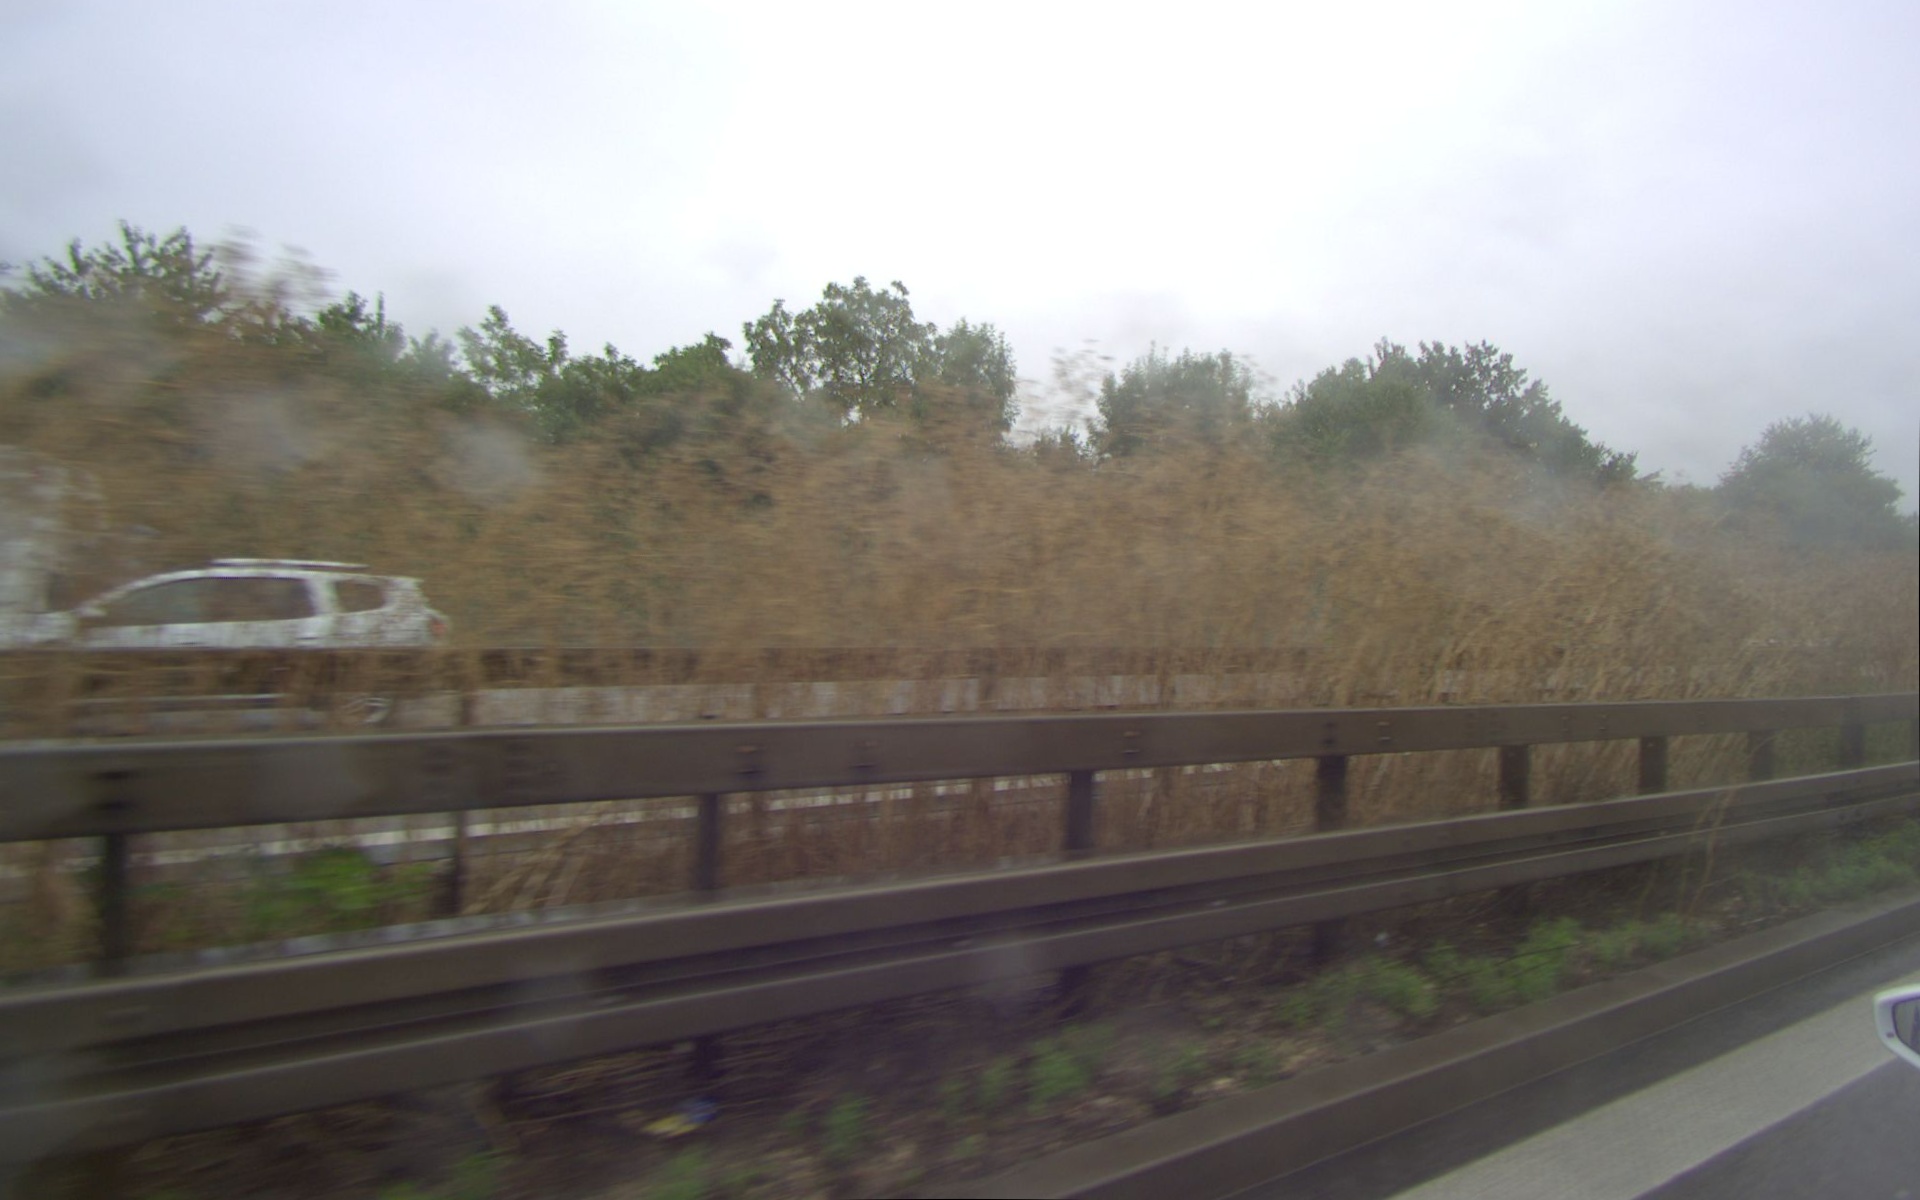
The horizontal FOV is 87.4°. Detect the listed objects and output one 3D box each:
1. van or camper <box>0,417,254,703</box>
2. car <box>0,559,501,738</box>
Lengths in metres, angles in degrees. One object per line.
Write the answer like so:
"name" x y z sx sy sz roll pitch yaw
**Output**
"van or camper" -12.080 -0.466 11.282 6.492 3.081 2.574 1 0 -30
"car" -6.760 0.436 9.739 4.080 1.476 1.417 2 0 -30
